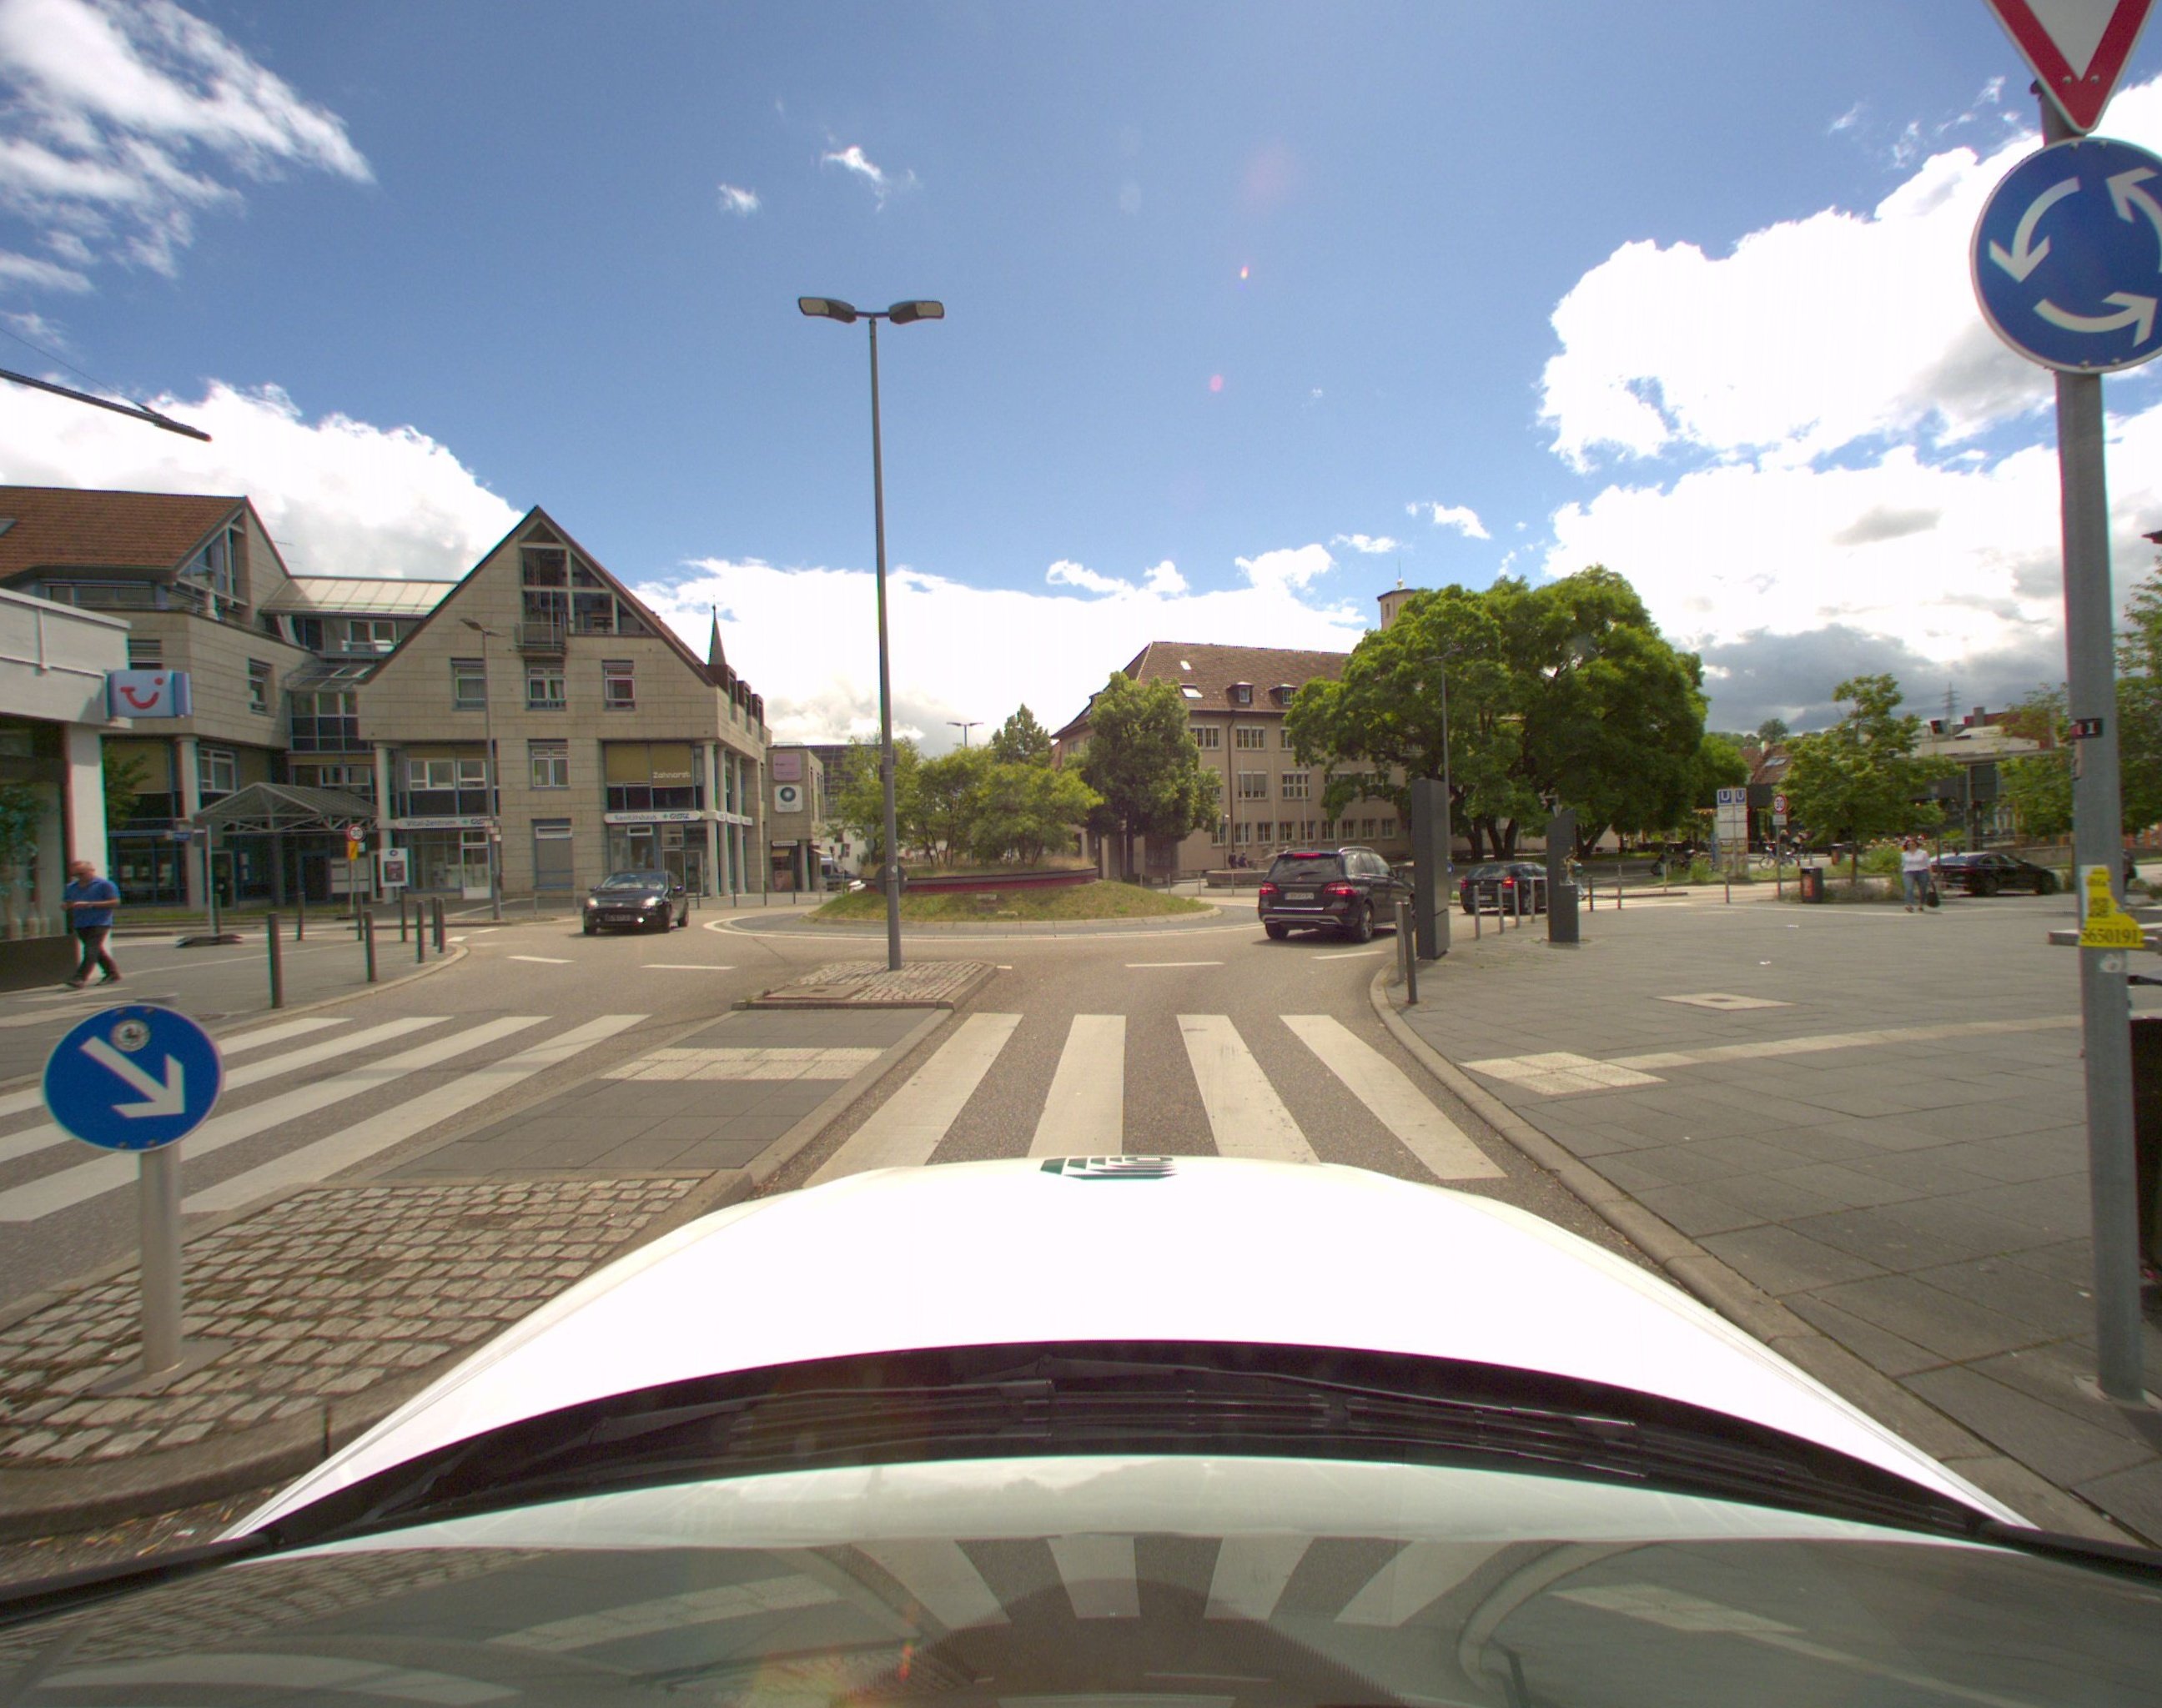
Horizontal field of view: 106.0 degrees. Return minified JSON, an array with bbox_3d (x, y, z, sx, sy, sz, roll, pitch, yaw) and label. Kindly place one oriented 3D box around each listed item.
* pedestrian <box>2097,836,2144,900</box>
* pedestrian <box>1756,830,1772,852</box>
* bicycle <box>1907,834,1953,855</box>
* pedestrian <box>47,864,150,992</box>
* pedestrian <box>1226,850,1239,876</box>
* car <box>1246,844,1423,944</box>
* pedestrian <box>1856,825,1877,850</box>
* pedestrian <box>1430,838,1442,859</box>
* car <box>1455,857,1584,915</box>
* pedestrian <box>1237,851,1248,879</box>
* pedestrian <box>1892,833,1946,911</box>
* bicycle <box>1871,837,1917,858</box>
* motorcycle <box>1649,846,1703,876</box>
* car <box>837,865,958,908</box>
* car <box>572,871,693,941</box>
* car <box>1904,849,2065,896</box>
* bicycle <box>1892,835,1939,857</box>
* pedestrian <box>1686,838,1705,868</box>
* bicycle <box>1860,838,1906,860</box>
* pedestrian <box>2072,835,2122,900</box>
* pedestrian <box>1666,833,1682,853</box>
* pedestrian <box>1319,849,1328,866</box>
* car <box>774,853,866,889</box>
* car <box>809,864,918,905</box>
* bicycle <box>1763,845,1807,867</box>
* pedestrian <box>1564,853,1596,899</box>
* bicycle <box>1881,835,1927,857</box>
[{"bbox_3d":[26.967,0.375,21.141,0.507,1.629,0.505,-1,-1,-1],"label":"pedestrian"},{"bbox_3d":[42.452,-0.815,50.615,0.618,1.379,0.577,-1,-1,-30],"label":"pedestrian"},{"bbox_3d":[43.728,-0.479,41.964,0.577,1.091,1.564,-1,0,-16],"label":"bicycle"},{"bbox_3d":[-12.852,0.937,10.669,0.566,1.603,0.605,-1,0,-5],"label":"pedestrian"},{"bbox_3d":[8.931,0.533,47.904,0.635,1.523,0.577,-1,3,-3],"label":"pedestrian"},{"bbox_3d":[5.224,0.706,16.377,2.008,1.727,4.461,0,-1,37],"label":"car"},{"bbox_3d":[46.600,-0.953,48.320,0.614,1.463,0.581,-1,-1,-9],"label":"pedestrian"},{"bbox_3d":[25.472,-0.419,58.377,0.692,1.493,0.819,-1,-1,19],"label":"pedestrian"},{"bbox_3d":[12.142,0.840,22.478,3.853,1.383,1.596,-1,-1,-36],"label":"car"},{"bbox_3d":[9.354,0.620,47.191,0.571,1.608,0.437,-1,3,-3],"label":"pedestrian"},{"bbox_3d":[19.383,0.404,18.841,0.779,1.746,0.699,-1,-1,-34],"label":"pedestrian"},{"bbox_3d":[41.165,-0.319,41.246,0.538,1.069,1.564,-1,0,-16],"label":"bicycle"},{"bbox_3d":[27.763,0.314,38.019,0.582,1.289,2.129,-4,2,-15],"label":"motorcycle"},{"bbox_3d":[-7.384,1.292,32.967,4.395,1.581,1.843,0,-2,-36],"label":"car"},{"bbox_3d":[-10.338,1.188,19.088,1.703,1.419,4.093,-1,-3,-18],"label":"car"},{"bbox_3d":[29.796,0.591,26.885,4.369,1.406,1.852,-1,-1,-16],"label":"car"},{"bbox_3d":[42.810,-0.410,41.789,0.577,1.091,1.564,-1,0,-16],"label":"bicycle"},{"bbox_3d":[32.984,-0.070,43.713,0.618,1.577,0.577,-1,-1,-31],"label":"pedestrian"},{"bbox_3d":[40.417,-0.244,41.068,0.577,1.091,1.564,-1,0,-16],"label":"bicycle"},{"bbox_3d":[26.252,0.347,21.055,0.547,1.629,0.681,-2,-2,28],"label":"pedestrian"},{"bbox_3d":[47.348,-0.878,65.061,0.636,1.627,0.783,-1,-1,-18],"label":"pedestrian"},{"bbox_3d":[16.538,0.222,55.490,0.482,1.182,0.584,-1,-1,30],"label":"pedestrian"},{"bbox_3d":[-19.582,1.257,61.118,6.319,2.560,2.186,0,-4,-27],"label":"car"},{"bbox_3d":[-9.764,1.349,36.711,4.229,1.576,1.854,-3,-1,9],"label":"car"},{"bbox_3d":[33.804,0.088,39.123,0.498,0.997,1.611,-1,0,-11],"label":"bicycle"},{"bbox_3d":[17.076,0.754,27.888,0.549,1.514,0.787,-3,2,-4],"label":"pedestrian"},{"bbox_3d":[41.908,-0.383,41.502,0.577,1.091,1.564,-1,0,-16],"label":"bicycle"}]
